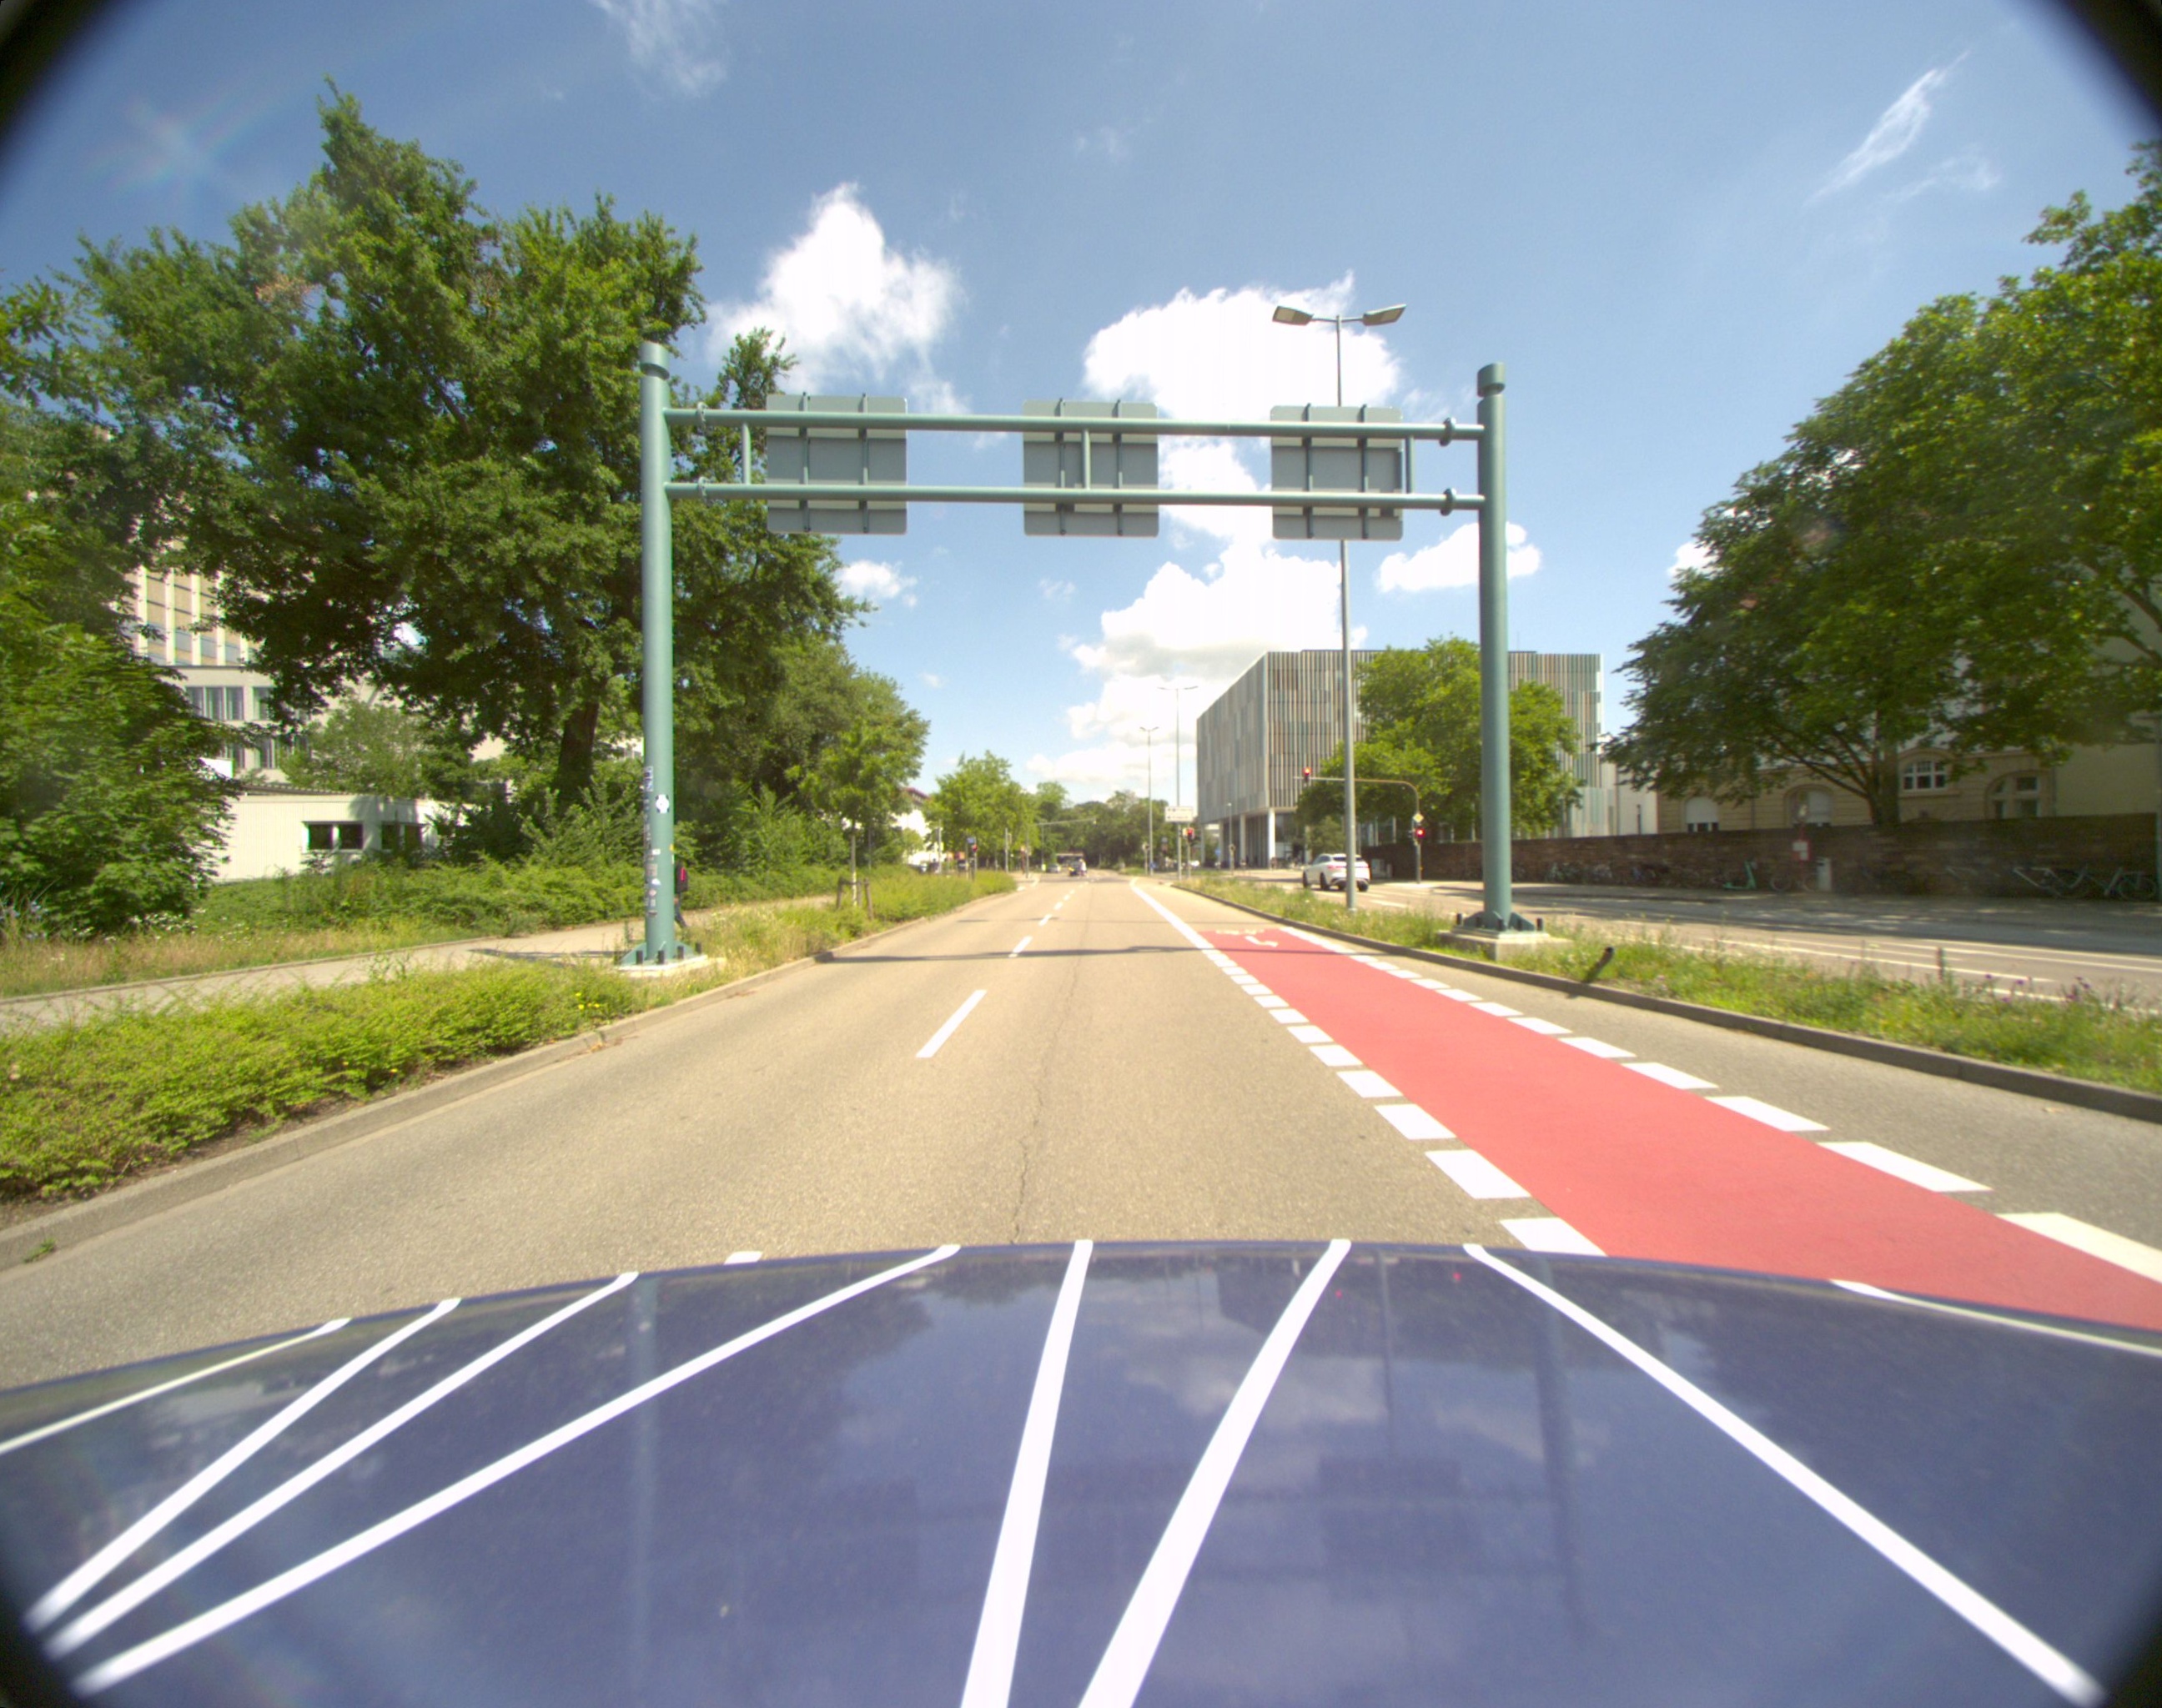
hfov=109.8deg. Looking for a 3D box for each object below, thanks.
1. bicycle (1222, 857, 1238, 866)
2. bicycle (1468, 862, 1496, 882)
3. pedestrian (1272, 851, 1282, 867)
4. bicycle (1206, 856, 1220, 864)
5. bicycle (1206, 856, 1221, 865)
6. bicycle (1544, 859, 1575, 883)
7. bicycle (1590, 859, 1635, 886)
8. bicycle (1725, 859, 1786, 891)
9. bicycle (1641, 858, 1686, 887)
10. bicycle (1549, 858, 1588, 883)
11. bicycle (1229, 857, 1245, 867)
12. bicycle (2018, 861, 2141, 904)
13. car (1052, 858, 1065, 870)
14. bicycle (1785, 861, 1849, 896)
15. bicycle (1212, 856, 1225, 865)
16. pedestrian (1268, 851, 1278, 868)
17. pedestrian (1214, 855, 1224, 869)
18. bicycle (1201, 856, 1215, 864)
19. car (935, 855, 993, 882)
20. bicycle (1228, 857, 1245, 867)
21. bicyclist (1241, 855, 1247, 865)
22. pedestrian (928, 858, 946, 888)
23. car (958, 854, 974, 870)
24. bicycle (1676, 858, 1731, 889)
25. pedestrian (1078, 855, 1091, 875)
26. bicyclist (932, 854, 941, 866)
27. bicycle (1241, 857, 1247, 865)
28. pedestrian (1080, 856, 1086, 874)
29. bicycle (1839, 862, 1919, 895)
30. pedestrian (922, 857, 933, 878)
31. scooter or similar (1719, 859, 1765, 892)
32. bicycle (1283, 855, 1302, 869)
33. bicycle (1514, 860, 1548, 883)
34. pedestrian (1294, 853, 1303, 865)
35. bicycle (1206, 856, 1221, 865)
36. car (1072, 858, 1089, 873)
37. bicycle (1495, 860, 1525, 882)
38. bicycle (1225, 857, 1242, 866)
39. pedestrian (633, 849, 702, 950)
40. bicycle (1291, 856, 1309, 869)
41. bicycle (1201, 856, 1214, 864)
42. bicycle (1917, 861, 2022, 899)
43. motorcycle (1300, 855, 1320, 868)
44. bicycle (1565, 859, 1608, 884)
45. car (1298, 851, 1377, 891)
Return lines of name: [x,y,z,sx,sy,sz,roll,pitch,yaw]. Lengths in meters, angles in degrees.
bicycle: [23.680,1.191,120.843,2.511,1.486,0.621,-1,0,1]
bicycle: [22.553,0.987,42.789,0.573,1.092,1.593,-1,0,-8]
pedestrian: [23.996,0.654,92.903,0.969,1.914,0.880,-1,0,27]
bicycle: [23.514,1.084,135.021,2.330,1.486,0.621,-1,0,1]
bicycle: [23.202,1.106,132.840,2.511,1.486,0.621,-1,0,1]
bicycle: [23.353,0.813,37.121,0.413,1.145,1.593,-1,0,-5]
bicycle: [23.394,0.802,33.457,0.403,1.145,1.590,-1,0,-32]
bicycle: [24.613,0.745,27.739,0.534,1.145,1.591,-1,0,-21]
bicycle: [23.993,0.755,31.330,0.403,1.145,1.593,-1,0,-11]
bicycle: [23.053,0.763,35.930,0.403,1.145,1.591,-1,0,-22]
bicycle: [24.264,1.203,118.161,2.509,1.486,0.730,-1,0,10]
bicycle: [25.917,0.716,19.773,0.545,1.041,1.894,-1,0,-11]
car: [-3.522,1.521,118.406,1.913,1.772,3.999,-1,0,-3]
bicycle: [24.922,0.813,25.753,0.433,1.136,1.593,-1,0,-12]
bicycle: [23.615,1.120,130.276,2.071,1.486,0.621,-1,0,1]
pedestrian: [22.712,0.672,89.870,0.969,1.914,0.880,-1,0,30]
pedestrian: [16.407,0.952,90.325,0.972,1.619,0.878,-1,0,-10]
bicycle: [23.098,1.065,138.348,2.511,1.486,0.621,-1,0,1]
car: [-8.883,1.091,57.657,3.989,2.002,2.004,-1,0,29]
bicycle: [23.976,1.216,117.155,2.451,1.486,0.621,-1,0,1]
bicyclist: [19.288,0.715,90.095,0.617,1.219,0.835,-1,0,15]
pedestrian: [-8.404,1.096,44.504,0.815,1.711,0.929,-1,0,2]
car: [-15.583,1.083,103.239,2.000,2.042,4.226,-1,0,-8]
bicycle: [24.136,0.739,29.479,0.534,1.145,1.591,-1,0,-21]
pedestrian: [0.341,1.106,76.014,1.108,1.914,0.972,-1,0,6]
bicyclist: [-16.960,0.711,89.385,0.972,1.436,1.076,-1,0,-10]
bicycle: [19.339,0.842,90.375,0.646,0.992,2.166,-1,0,13]
pedestrian: [0.198,1.153,76.927,0.646,1.815,0.689,-1,0,1]
bicycle: [25.218,0.745,24.049,0.482,1.002,1.800,-1,0,-8]
pedestrian: [-13.616,1.192,67.363,0.879,1.861,0.971,-1,0,-9]
scooter or similar: [23.878,0.777,27.476,0.433,1.145,1.191,-1,0,-20]
bicycle: [26.590,0.975,95.543,0.808,1.634,3.422,-1,0,42]
bicycle: [23.037,0.878,38.930,0.623,1.145,1.593,-1,0,-8]
pedestrian: [30.677,0.710,107.178,1.012,1.697,1.212,-1,0,27]
bicycle: [23.295,1.096,133.953,2.511,1.486,0.621,-1,0,1]
car: [-0.065,1.309,86.852,1.846,1.593,3.999,-1,0,-2]
bicycle: [22.882,0.892,40.571,0.500,1.145,1.593,-1,0,-8]
bicycle: [24.424,1.174,121.741,2.511,1.486,0.621,-1,0,1]
pedestrian: [-7.255,0.779,13.364,0.718,1.711,0.837,-1,0,2]
bicycle: [27.356,1.053,94.809,2.693,1.485,0.930,-1,0,-44]
bicycle: [23.195,1.054,139.634,2.302,1.486,0.657,-1,0,1]
bicycle: [25.583,0.729,21.929,0.545,1.041,1.948,-1,0,-11]
motorcycle: [28.320,0.941,93.855,0.969,1.630,3.305,-1,0,45]
bicycle: [23.113,0.795,34.760,0.403,1.145,1.590,-1,0,-32]
car: [11.482,0.745,34.382,2.076,1.657,4.776,-1,0,2]
